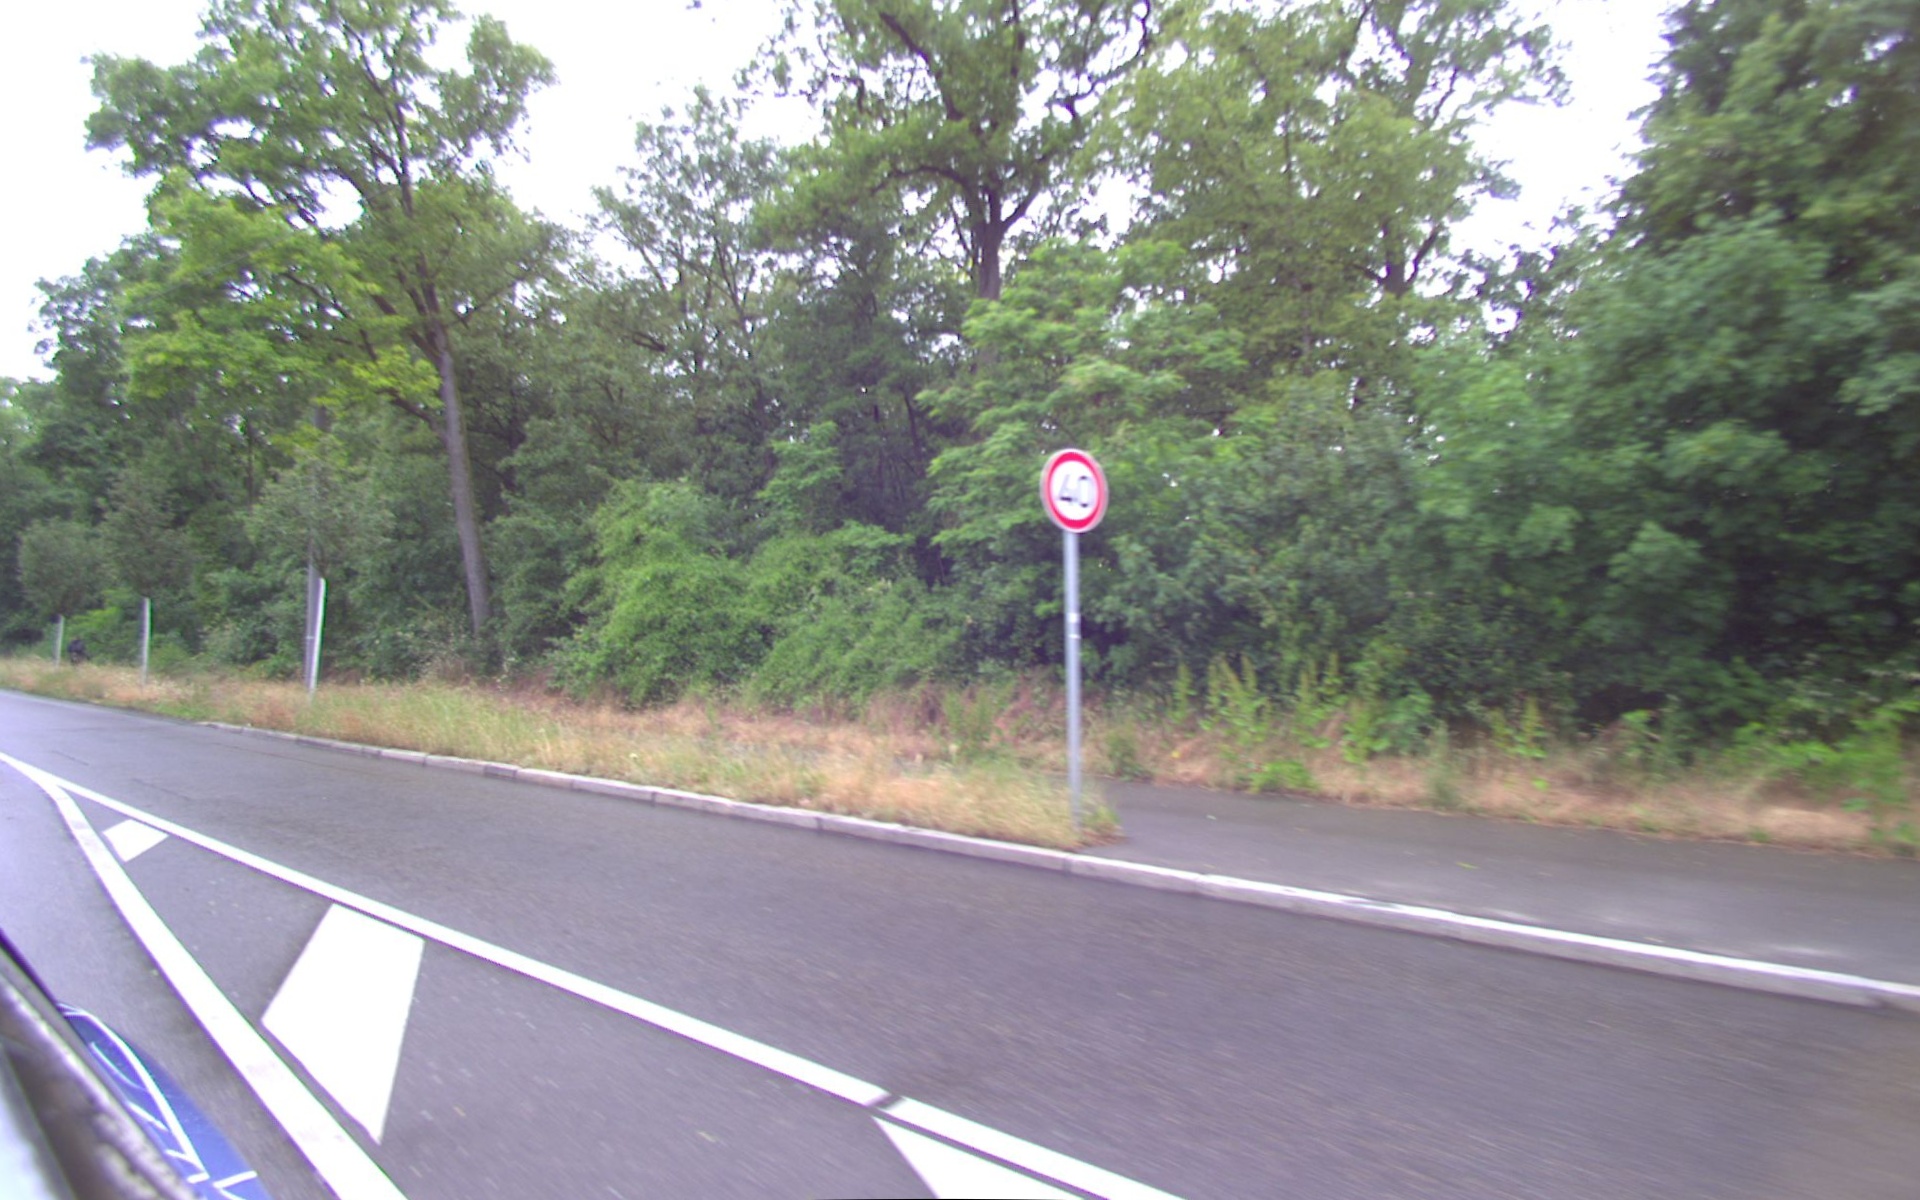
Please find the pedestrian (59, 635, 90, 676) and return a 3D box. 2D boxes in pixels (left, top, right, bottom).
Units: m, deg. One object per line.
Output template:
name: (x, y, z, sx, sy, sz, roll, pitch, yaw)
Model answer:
pedestrian: (-35.629, 2.234, 40.709, 0.731, 1.620, 0.773, -2, -3, 38)
